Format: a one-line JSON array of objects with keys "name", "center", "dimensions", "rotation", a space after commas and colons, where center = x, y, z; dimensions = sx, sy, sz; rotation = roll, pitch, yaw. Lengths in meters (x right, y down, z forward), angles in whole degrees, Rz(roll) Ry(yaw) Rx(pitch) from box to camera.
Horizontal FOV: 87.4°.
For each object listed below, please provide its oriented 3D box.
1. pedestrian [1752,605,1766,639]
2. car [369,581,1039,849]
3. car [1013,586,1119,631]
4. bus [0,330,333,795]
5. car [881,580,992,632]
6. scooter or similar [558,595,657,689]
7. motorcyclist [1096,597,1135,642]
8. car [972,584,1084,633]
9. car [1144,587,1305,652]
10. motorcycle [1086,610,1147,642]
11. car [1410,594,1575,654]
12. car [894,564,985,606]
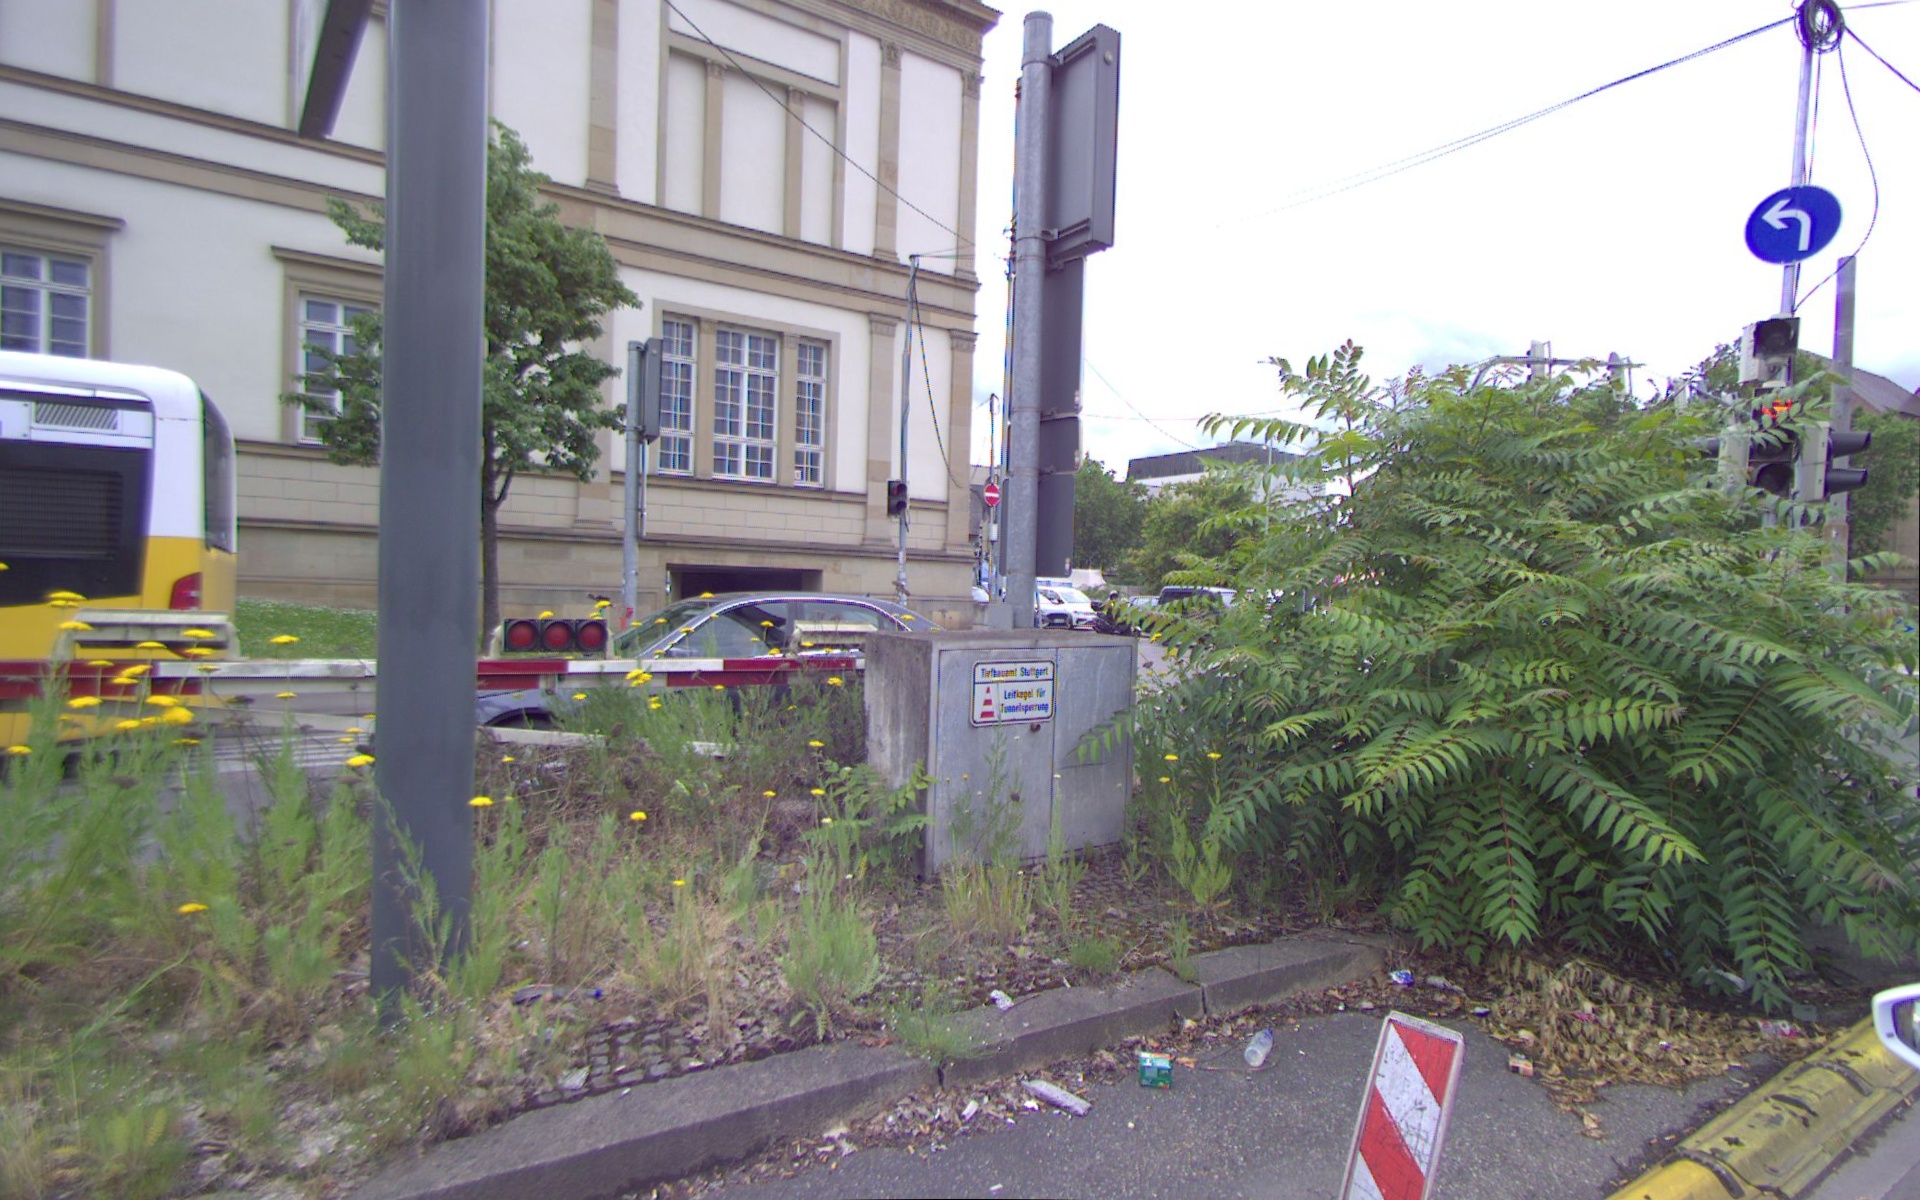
[{"name": "pedestrian", "center": [49.751, 1.362, 62.544], "dimensions": [0.516, 2.040, 0.428], "rotation": [2, 1, 17]}, {"name": "car", "center": [-1.762, 0.680, 7.552], "dimensions": [4.579, 1.491, 1.691], "rotation": [2, 0, -32]}, {"name": "car", "center": [4.252, 0.310, 40.905], "dimensions": [1.979, 1.698, 4.285], "rotation": [1, 1, -34]}, {"name": "bus", "center": [-9.523, -0.329, 6.628], "dimensions": [9.018, 3.156, 2.830], "rotation": [1, 1, -32]}, {"name": "car", "center": [-0.911, 0.171, 35.919], "dimensions": [1.979, 1.698, 4.285], "rotation": [1, 1, -34]}, {"name": "scooter or similar", "center": [-4.942, 0.581, 14.134], "dimensions": [1.132, 1.190, 0.540], "rotation": [6, 0, -10]}, {"name": "motorcyclist", "center": [5.055, 0.625, 32.670], "dimensions": [0.738, 1.442, 0.959], "rotation": [1, 1, -35]}, {"name": "car", "center": [2.477, 0.290, 37.702], "dimensions": [1.979, 1.698, 4.285], "rotation": [1, 1, -34]}, {"name": "car", "center": [7.590, 0.518, 29.209], "dimensions": [1.979, 1.698, 4.285], "rotation": [1, 1, -34]}, {"name": "motorcycle", "center": [5.070, 0.826, 32.653], "dimensions": [0.749, 0.937, 2.042], "rotation": [1, 1, -35]}, {"name": "car", "center": [17.128, 0.732, 32.450], "dimensions": [1.986, 1.698, 4.271], "rotation": [1, 1, -43]}, {"name": "car", "center": [-0.943, -0.678, 43.684], "dimensions": [1.979, 1.698, 4.285], "rotation": [1, 1, -34]}]
